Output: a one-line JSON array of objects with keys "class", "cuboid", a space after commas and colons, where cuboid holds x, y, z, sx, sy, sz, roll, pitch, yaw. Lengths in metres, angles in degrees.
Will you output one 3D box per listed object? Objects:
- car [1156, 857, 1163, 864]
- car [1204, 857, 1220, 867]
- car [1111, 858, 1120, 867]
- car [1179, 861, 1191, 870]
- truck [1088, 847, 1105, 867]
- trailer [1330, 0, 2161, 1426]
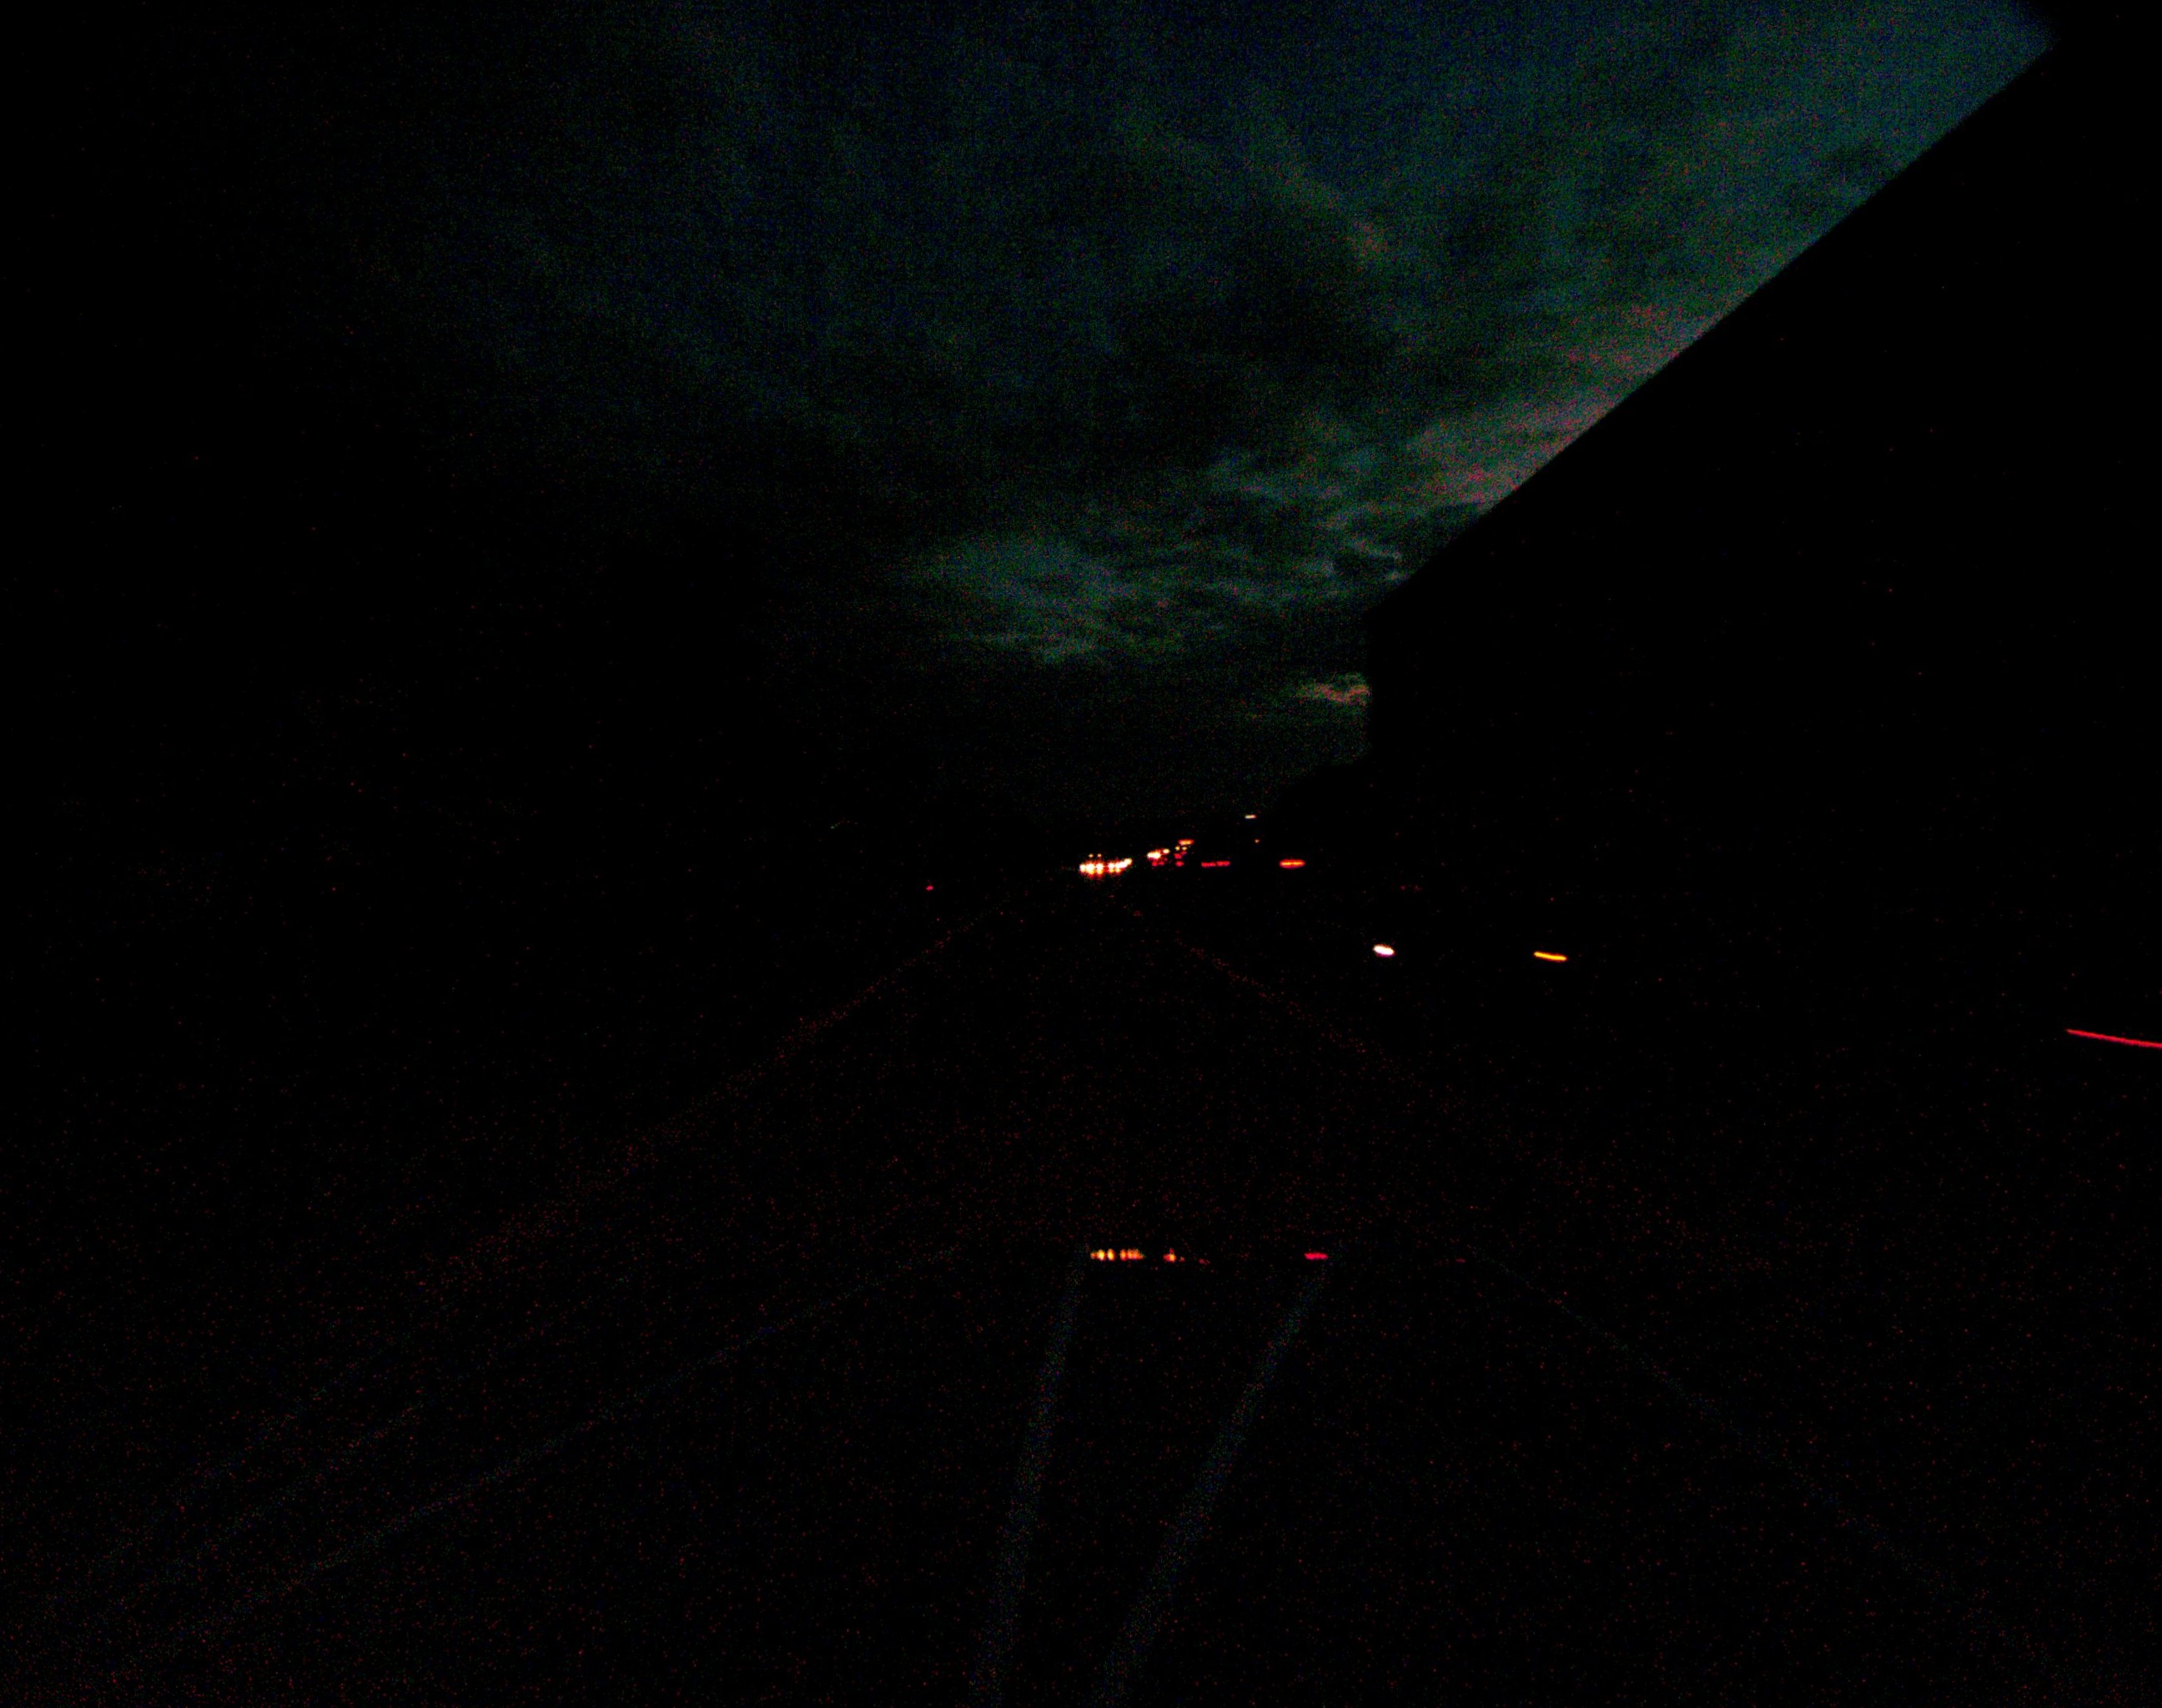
[{"class": "car", "cuboid": [24.954, 2.023, 241.525, 1.998, 2.002, 4.489, -2, 0, 1]}, {"class": "car", "cuboid": [23.058, 1.406, 134.050, 1.998, 1.600, 4.559, -2, 0, 0]}, {"class": "car", "cuboid": [8.221, 1.937, 181.005, 1.998, 2.002, 4.000, -1, 0, 1]}, {"class": "car", "cuboid": [24.507, 2.658, 179.726, 1.999, 2.002, 3.999, -3, 0, -4]}, {"class": "truck", "cuboid": [3.551, 0.710, 170.952, 3.352, 4.293, 11.327, -1, 0, 2]}, {"class": "trailer", "cuboid": [4.395, -0.405, 0.760, 2.781, 3.892, 14.816, -2, 0, -2]}]
